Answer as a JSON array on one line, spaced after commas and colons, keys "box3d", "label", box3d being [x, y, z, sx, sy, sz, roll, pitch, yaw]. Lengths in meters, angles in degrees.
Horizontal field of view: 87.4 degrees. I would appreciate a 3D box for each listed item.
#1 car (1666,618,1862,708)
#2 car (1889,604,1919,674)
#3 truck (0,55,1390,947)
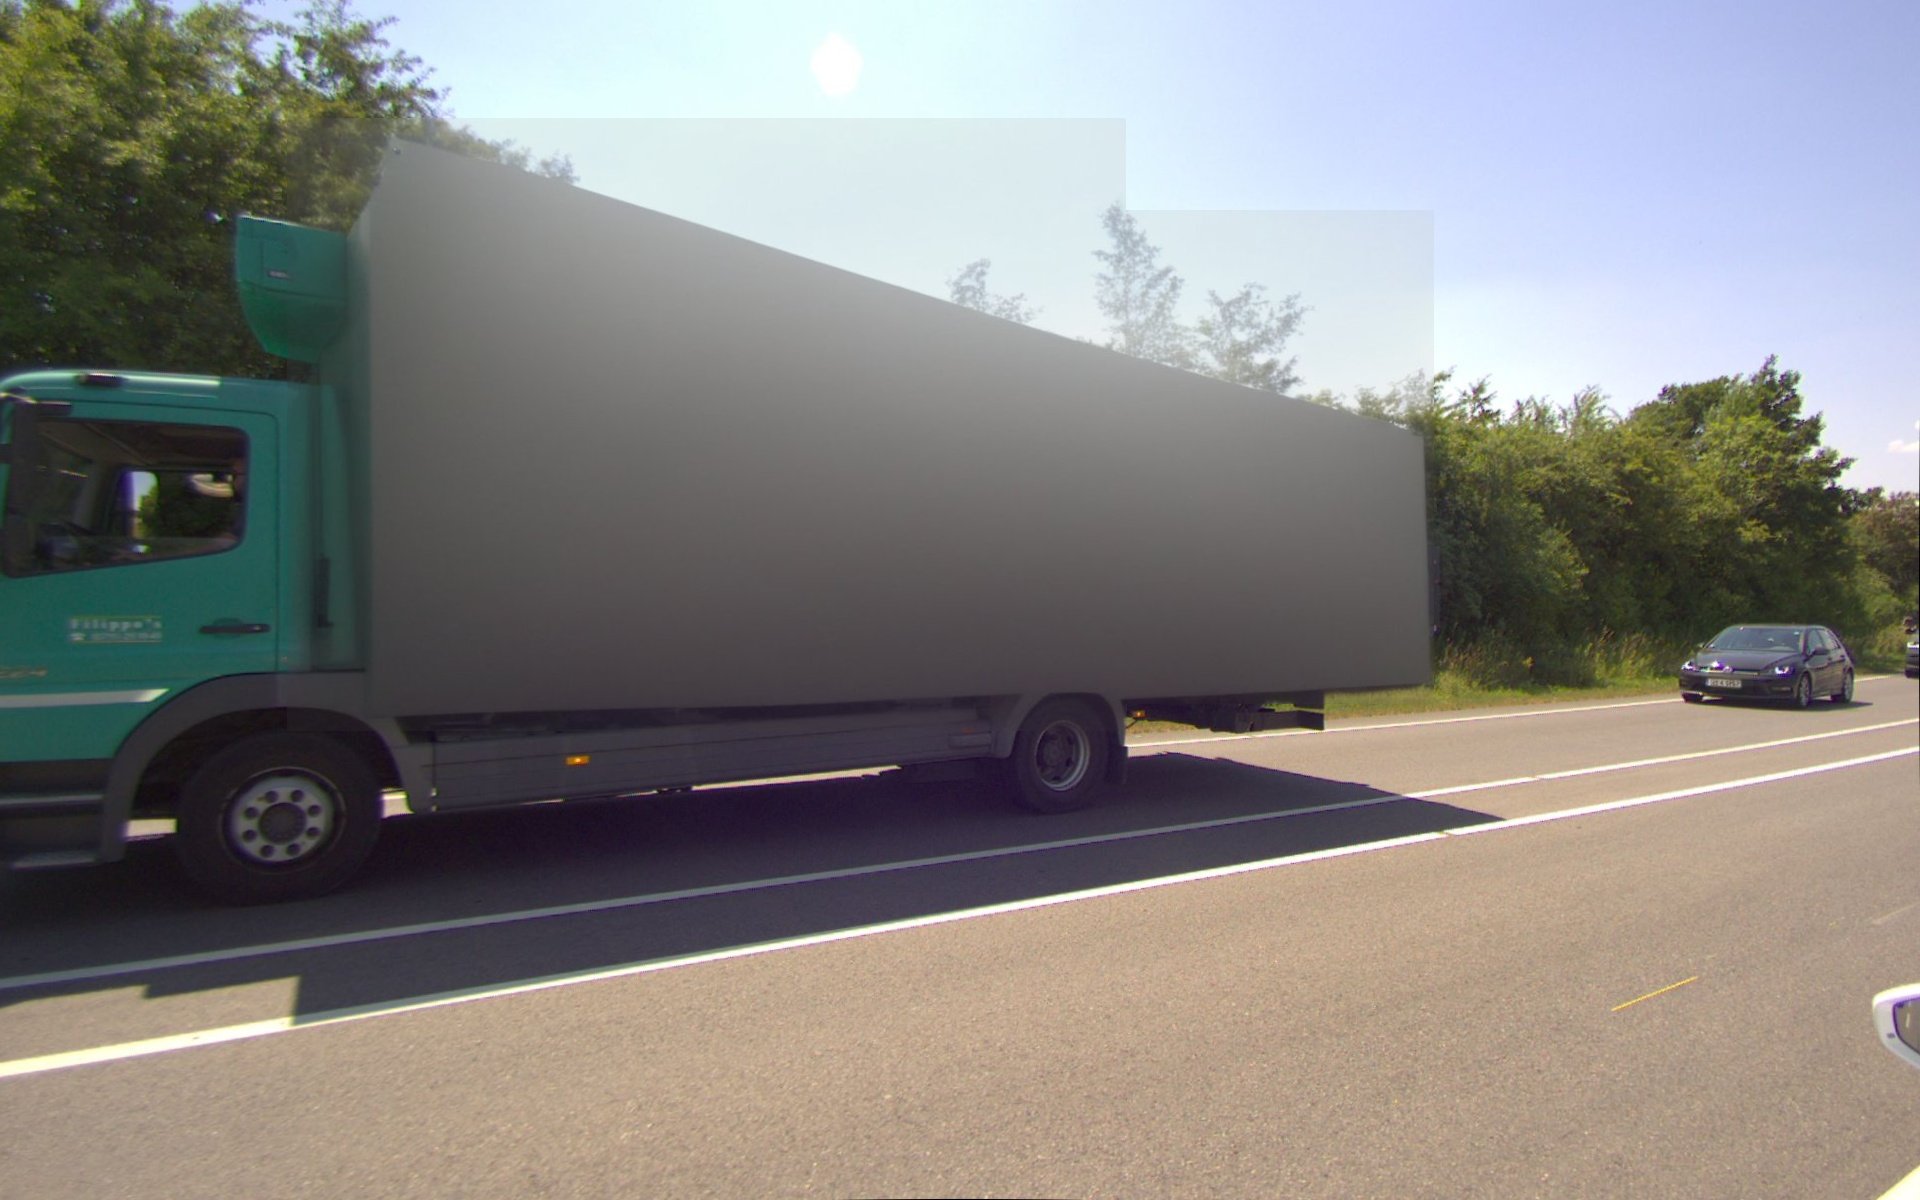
[{"box3d": [14.973, 1.083, 18.639, 4.290, 1.461, 1.863, 1, 0, -37], "label": "car"}, {"box3d": [28.448, 1.091, 28.677, 5.056, 1.919, 1.979, 1, 0, -37], "label": "car"}, {"box3d": [-0.939, -0.350, 7.590, 9.324, 3.622, 2.854, 1, 0, -32], "label": "truck"}]
